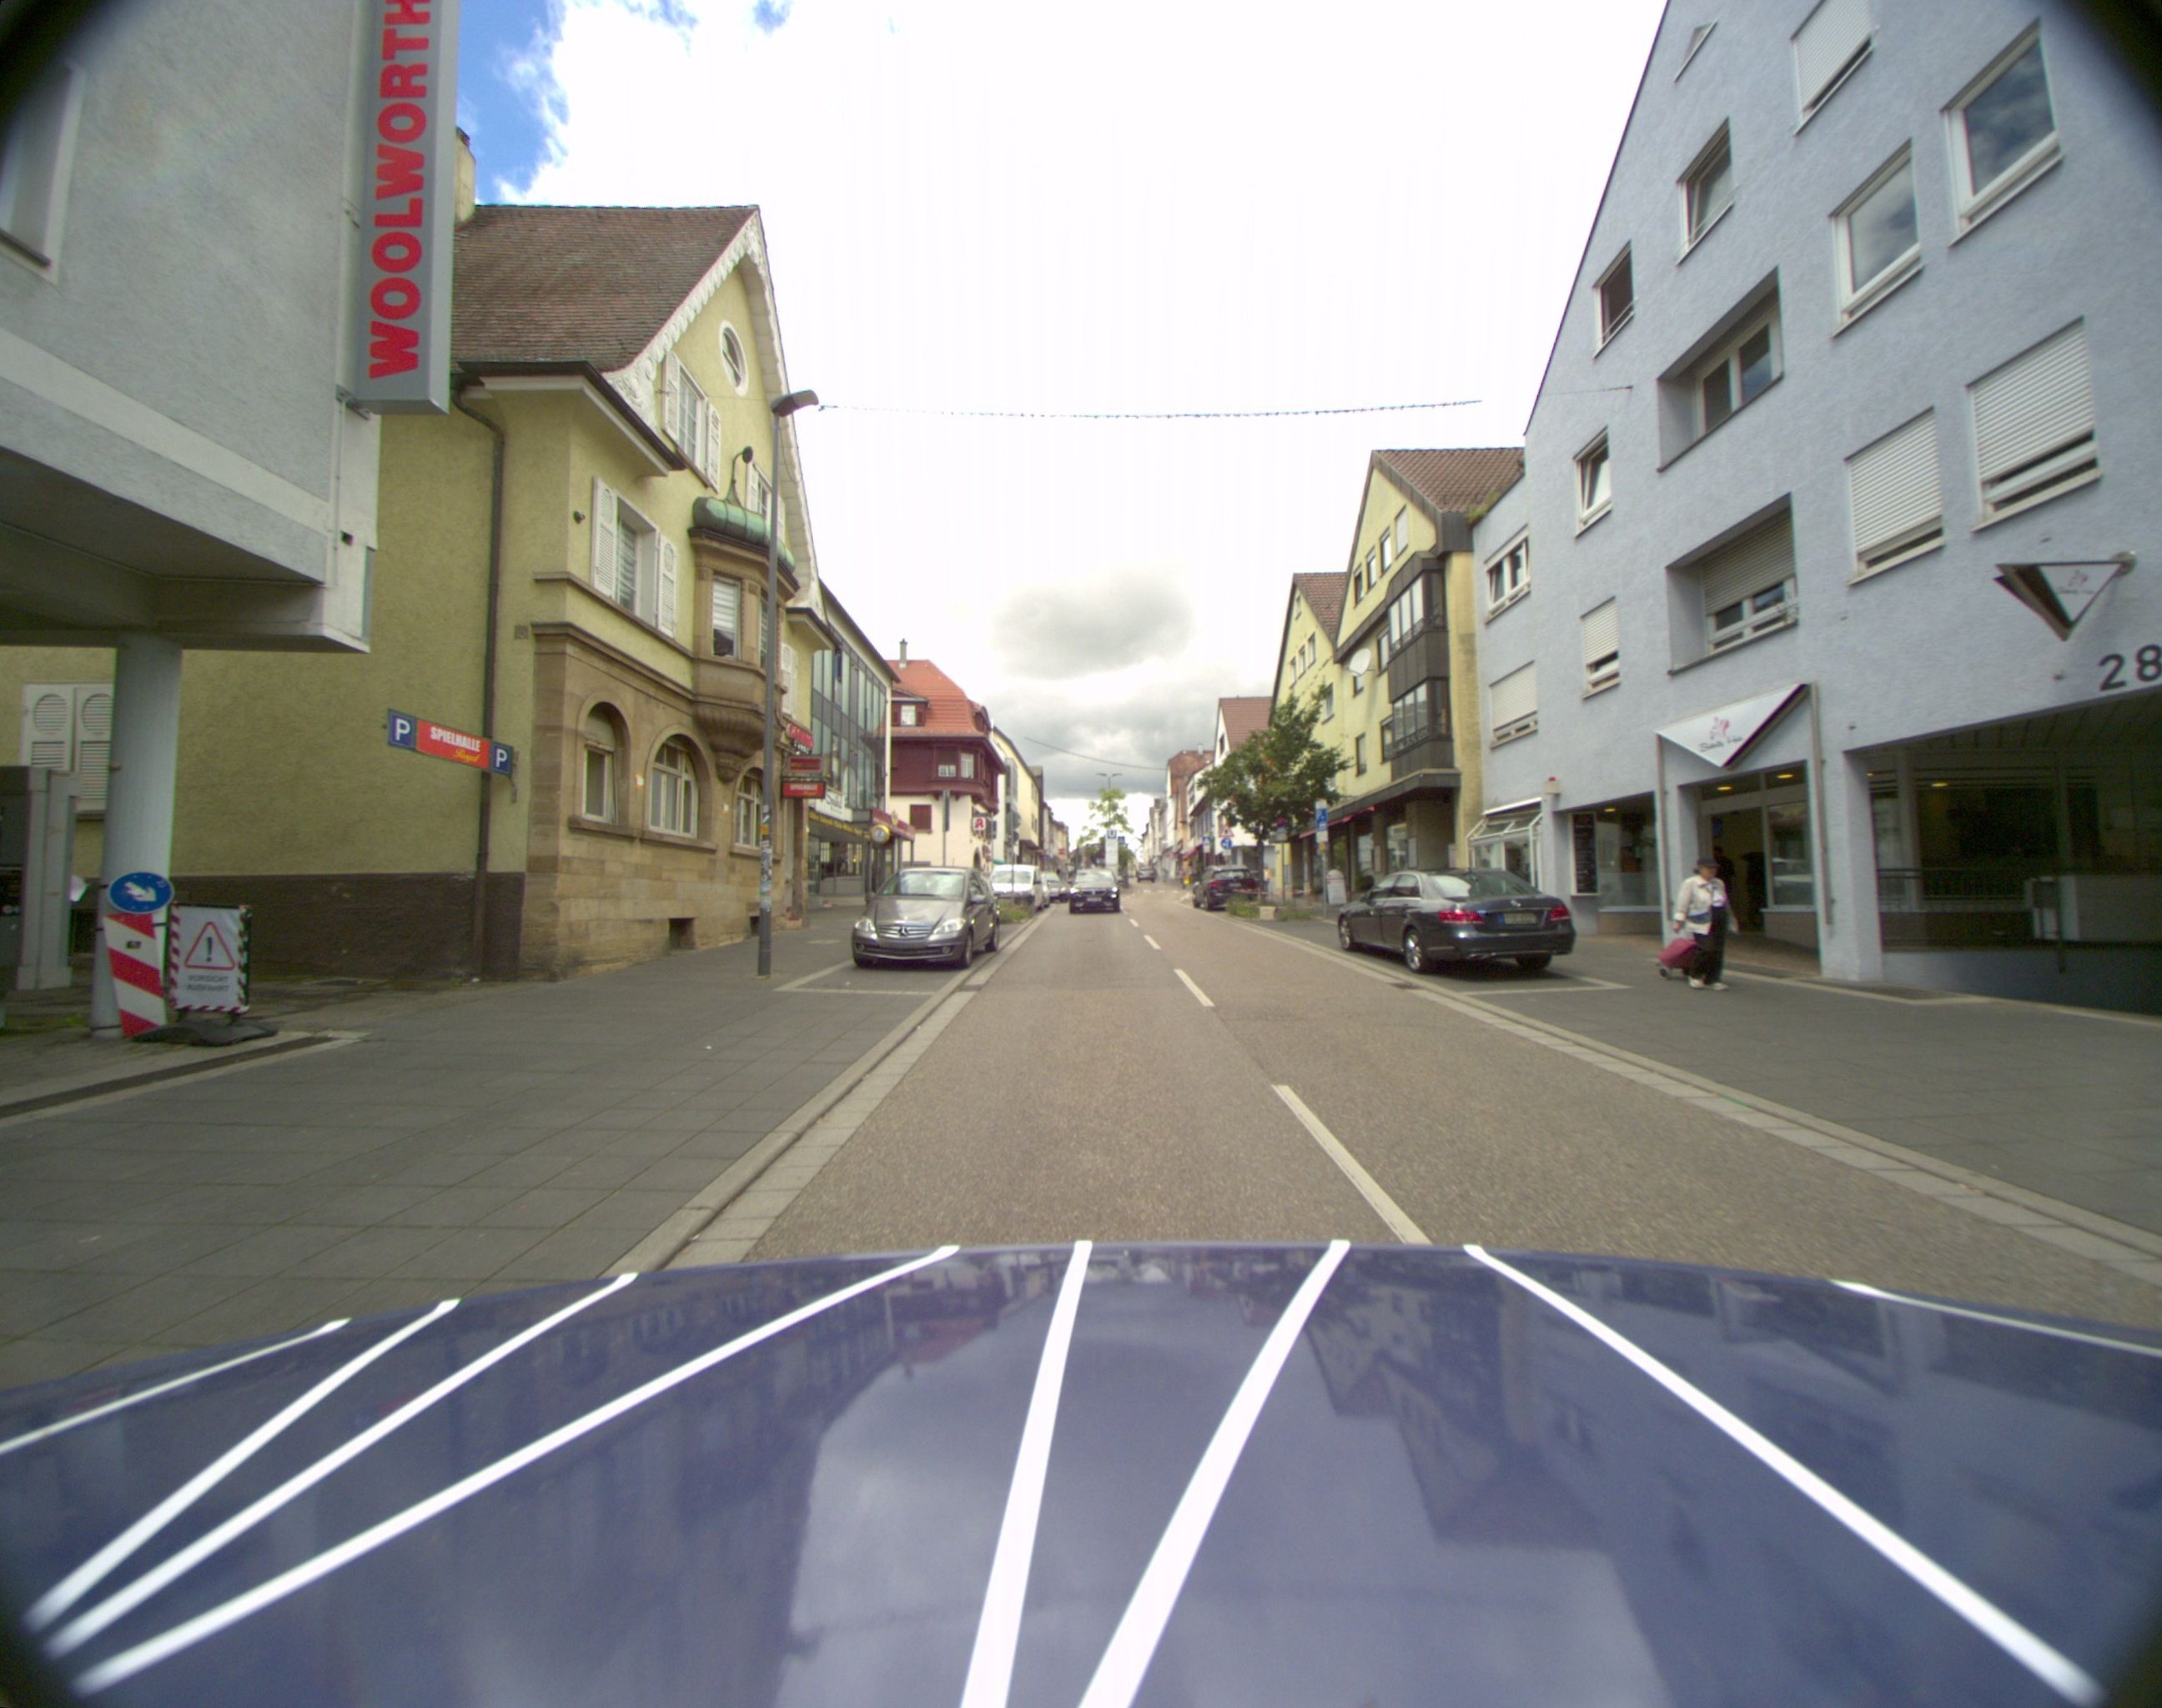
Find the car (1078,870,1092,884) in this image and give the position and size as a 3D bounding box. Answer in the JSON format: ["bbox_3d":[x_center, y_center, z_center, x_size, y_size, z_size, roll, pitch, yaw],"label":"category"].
[{"bbox_3d":[0.598,3.513,115.864,1.998,2.001,4.001,-1,-1,1],"label":"car"}]

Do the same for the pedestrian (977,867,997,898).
[{"bbox_3d":[-5.156,1.559,41.770,0.865,1.697,0.945,0,0,7],"label":"pedestrian"}]

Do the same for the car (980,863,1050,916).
[{"bbox_3d":[-2.400,1.269,28.752,1.881,1.789,4.734,-1,-1,4],"label":"car"}]

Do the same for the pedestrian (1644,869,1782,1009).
[{"bbox_3d":[7.128,0.928,8.616,0.828,1.455,0.810,-3,0,0],"label":"pedestrian"}]

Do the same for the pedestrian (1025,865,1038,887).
[{"bbox_3d":[-4.070,1.788,62.397,0.987,1.777,0.919,0,-1,-4],"label":"pedestrian"}]

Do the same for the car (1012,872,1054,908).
[{"bbox_3d":[-2.069,1.556,33.521,1.707,1.459,4.000,0,-1,-2],"label":"car"}]

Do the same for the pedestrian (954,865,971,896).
[{"bbox_3d":[-6.786,1.507,43.418,0.776,1.758,0.818,-1,0,2],"label":"pedestrian"}]

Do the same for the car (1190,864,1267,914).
[{"bbox_3d":[5.567,1.304,29.268,2.012,1.683,4.608,-2,-1,0],"label":"car"}]

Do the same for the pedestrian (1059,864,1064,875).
[{"bbox_3d":[-2.878,2.261,112.065,0.663,1.696,0.780,0,0,-1],"label":"pedestrian"}]

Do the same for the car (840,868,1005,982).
[{"bbox_3d":[-2.478,1.057,12.842,1.752,1.598,3.801,1,-1,3],"label":"car"}]

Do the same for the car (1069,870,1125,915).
[{"bbox_3d":[0.512,1.362,28.230,1.914,1.559,4.372,0,-1,-1],"label":"car"}]

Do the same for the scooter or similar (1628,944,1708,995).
[{"bbox_3d":[7.210,1.412,9.355,0.526,0.516,0.573,-3,0,0],"label":"scooter or similar"}]

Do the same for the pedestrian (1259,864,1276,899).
[{"bbox_3d":[9.502,1.385,38.725,0.638,1.728,0.836,1,0,-2],"label":"pedestrian"}]

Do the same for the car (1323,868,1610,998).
[{"bbox_3d":[5.568,1.030,11.882,1.931,1.483,4.843,-3,-1,0],"label":"car"}]

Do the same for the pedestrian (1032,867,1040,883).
[{"bbox_3d":[-4.903,2.302,82.695,0.759,1.663,0.780,2,-1,-1],"label":"pedestrian"}]

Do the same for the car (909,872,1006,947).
[{"bbox_3d":[-2.780,1.212,17.878,1.753,1.499,3.874,1,-1,-2],"label":"car"}]

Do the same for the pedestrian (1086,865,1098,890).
[{"bbox_3d":[0.796,1.706,55.838,0.676,1.790,0.788,-1,0,-12],"label":"pedestrian"}]

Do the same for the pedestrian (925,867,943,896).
[{"bbox_3d":[-8.265,1.527,42.694,0.774,1.635,0.870,0,0,7],"label":"pedestrian"}]

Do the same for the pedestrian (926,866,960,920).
[{"bbox_3d":[-4.308,1.210,23.709,0.825,1.656,0.802,-1,0,7],"label":"pedestrian"}]

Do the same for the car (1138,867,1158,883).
[{"bbox_3d":[7.284,2.271,83.032,1.968,1.611,4.356,2,0,3],"label":"car"}]

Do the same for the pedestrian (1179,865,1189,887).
[{"bbox_3d":[7.978,1.706,58.971,0.696,1.729,0.825,-1,0,3],"label":"pedestrian"}]

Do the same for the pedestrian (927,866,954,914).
[{"bbox_3d":[-5.164,1.322,27.964,0.798,1.717,1.053,0,0,1],"label":"pedestrian"}]
